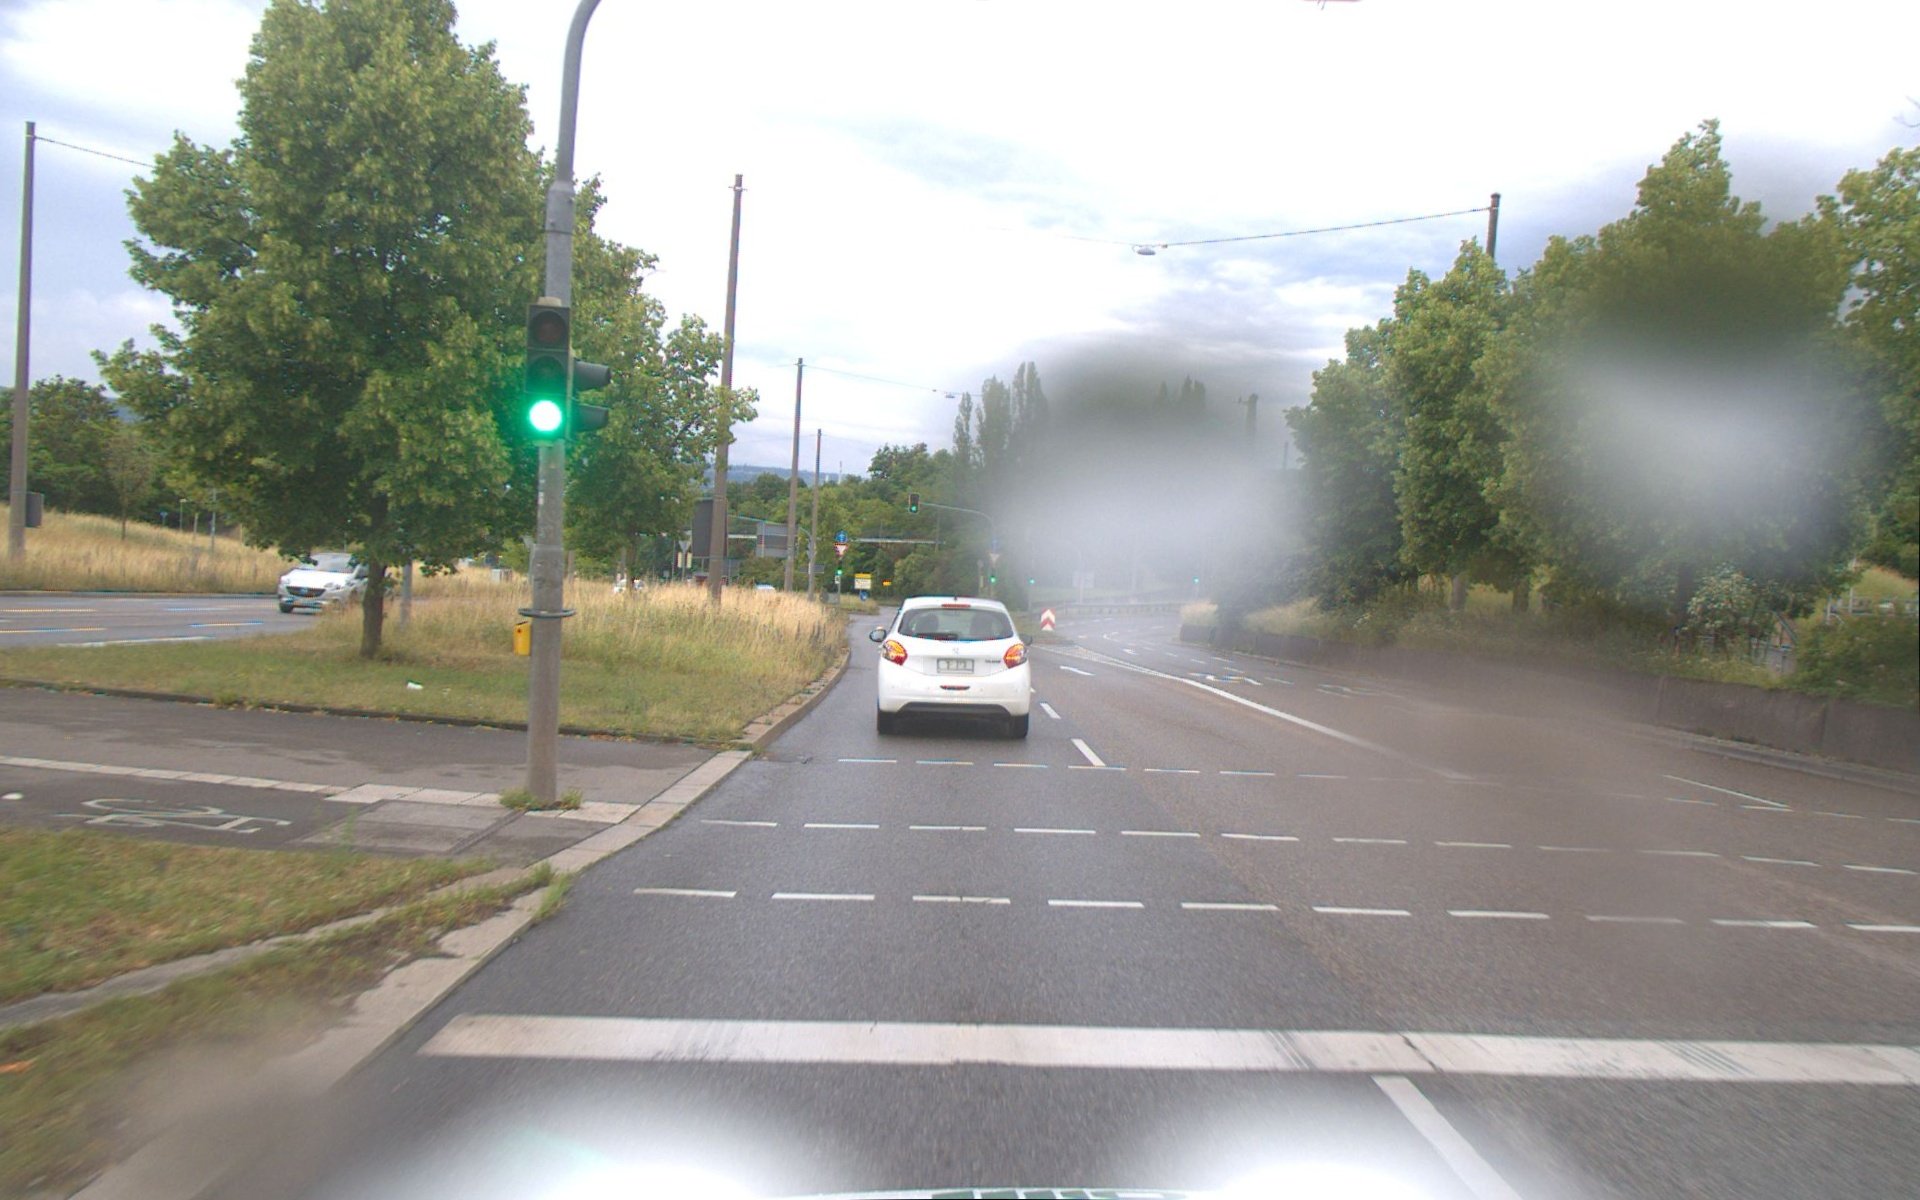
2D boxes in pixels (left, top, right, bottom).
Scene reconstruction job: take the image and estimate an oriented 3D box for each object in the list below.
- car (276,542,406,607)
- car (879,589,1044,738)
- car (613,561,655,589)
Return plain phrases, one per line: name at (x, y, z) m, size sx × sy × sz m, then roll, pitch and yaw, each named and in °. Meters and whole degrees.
car at (-14.920, -0.586, 40.083) m, size 1.507 × 1.413 × 3.928 m, roll 3°, pitch 0°, yaw 2°
car at (-0.023, 0.648, 18.964) m, size 1.674 × 1.465 × 3.690 m, roll 2°, pitch 1°, yaw -1°
car at (-22.165, -1.694, 112.530) m, size 1.847 × 1.639 × 4.675 m, roll 3°, pitch -1°, yaw 0°
